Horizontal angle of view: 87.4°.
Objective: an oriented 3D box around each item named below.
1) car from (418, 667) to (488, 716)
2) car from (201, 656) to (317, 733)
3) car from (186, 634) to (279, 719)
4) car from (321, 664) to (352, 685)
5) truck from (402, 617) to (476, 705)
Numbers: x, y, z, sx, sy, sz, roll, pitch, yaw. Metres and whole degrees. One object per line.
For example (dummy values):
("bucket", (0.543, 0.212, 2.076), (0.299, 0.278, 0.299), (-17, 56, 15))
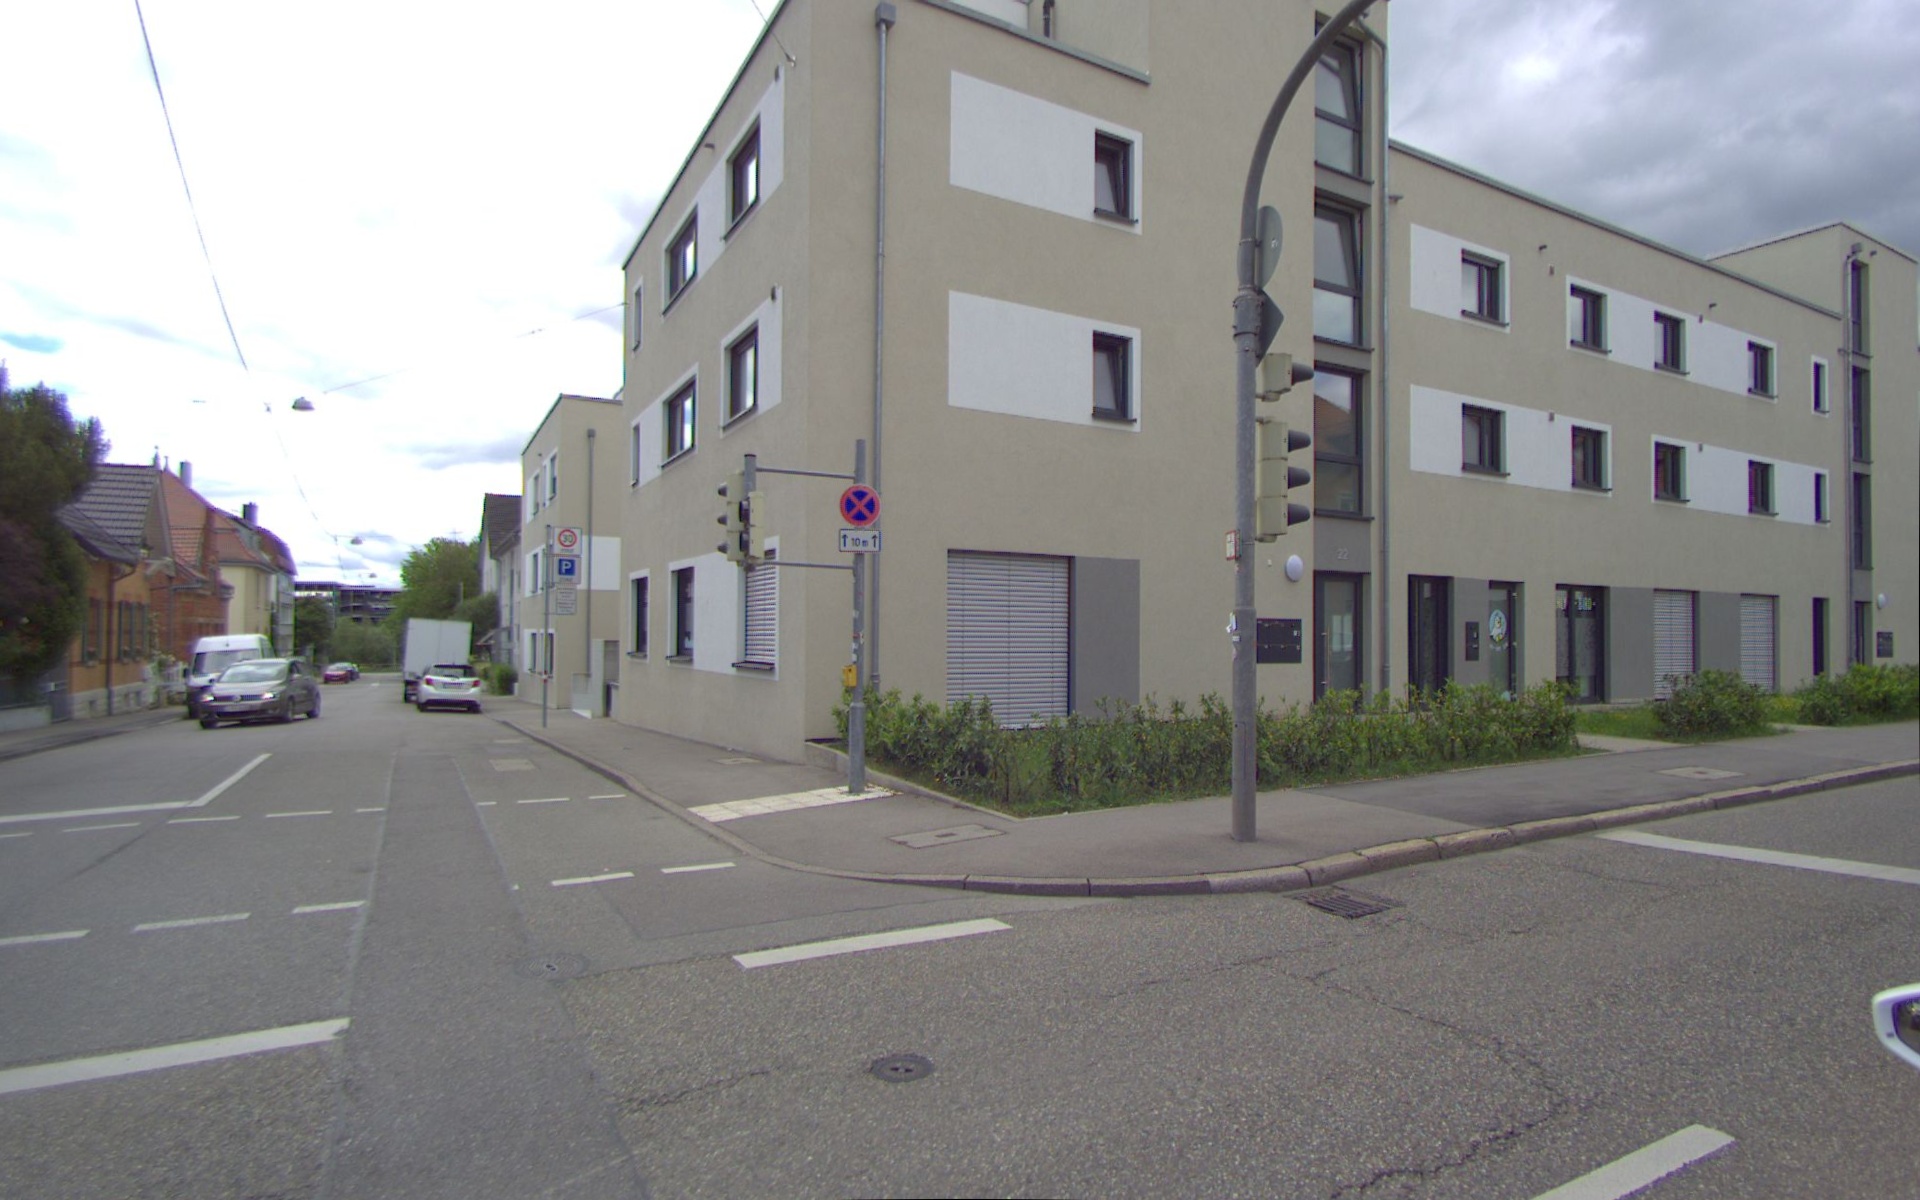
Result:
("car", (-16.112, 2.842, 31.826), (1.729, 1.440, 3.968), (2, -4, -31))
("car", (-17.007, 2.270, 24.539), (1.874, 1.605, 3.972), (-2, -3, -29))
("car", (-23.938, 2.507, 33.253), (2.017, 2.542, 5.942), (1, -4, -32))
("car", (-53.353, 6.360, 86.005), (1.976, 1.528, 3.969), (1, -1, -29))
("truck", (-21.269, 2.484, 40.921), (2.420, 3.274, 6.170), (1, -4, -29))
